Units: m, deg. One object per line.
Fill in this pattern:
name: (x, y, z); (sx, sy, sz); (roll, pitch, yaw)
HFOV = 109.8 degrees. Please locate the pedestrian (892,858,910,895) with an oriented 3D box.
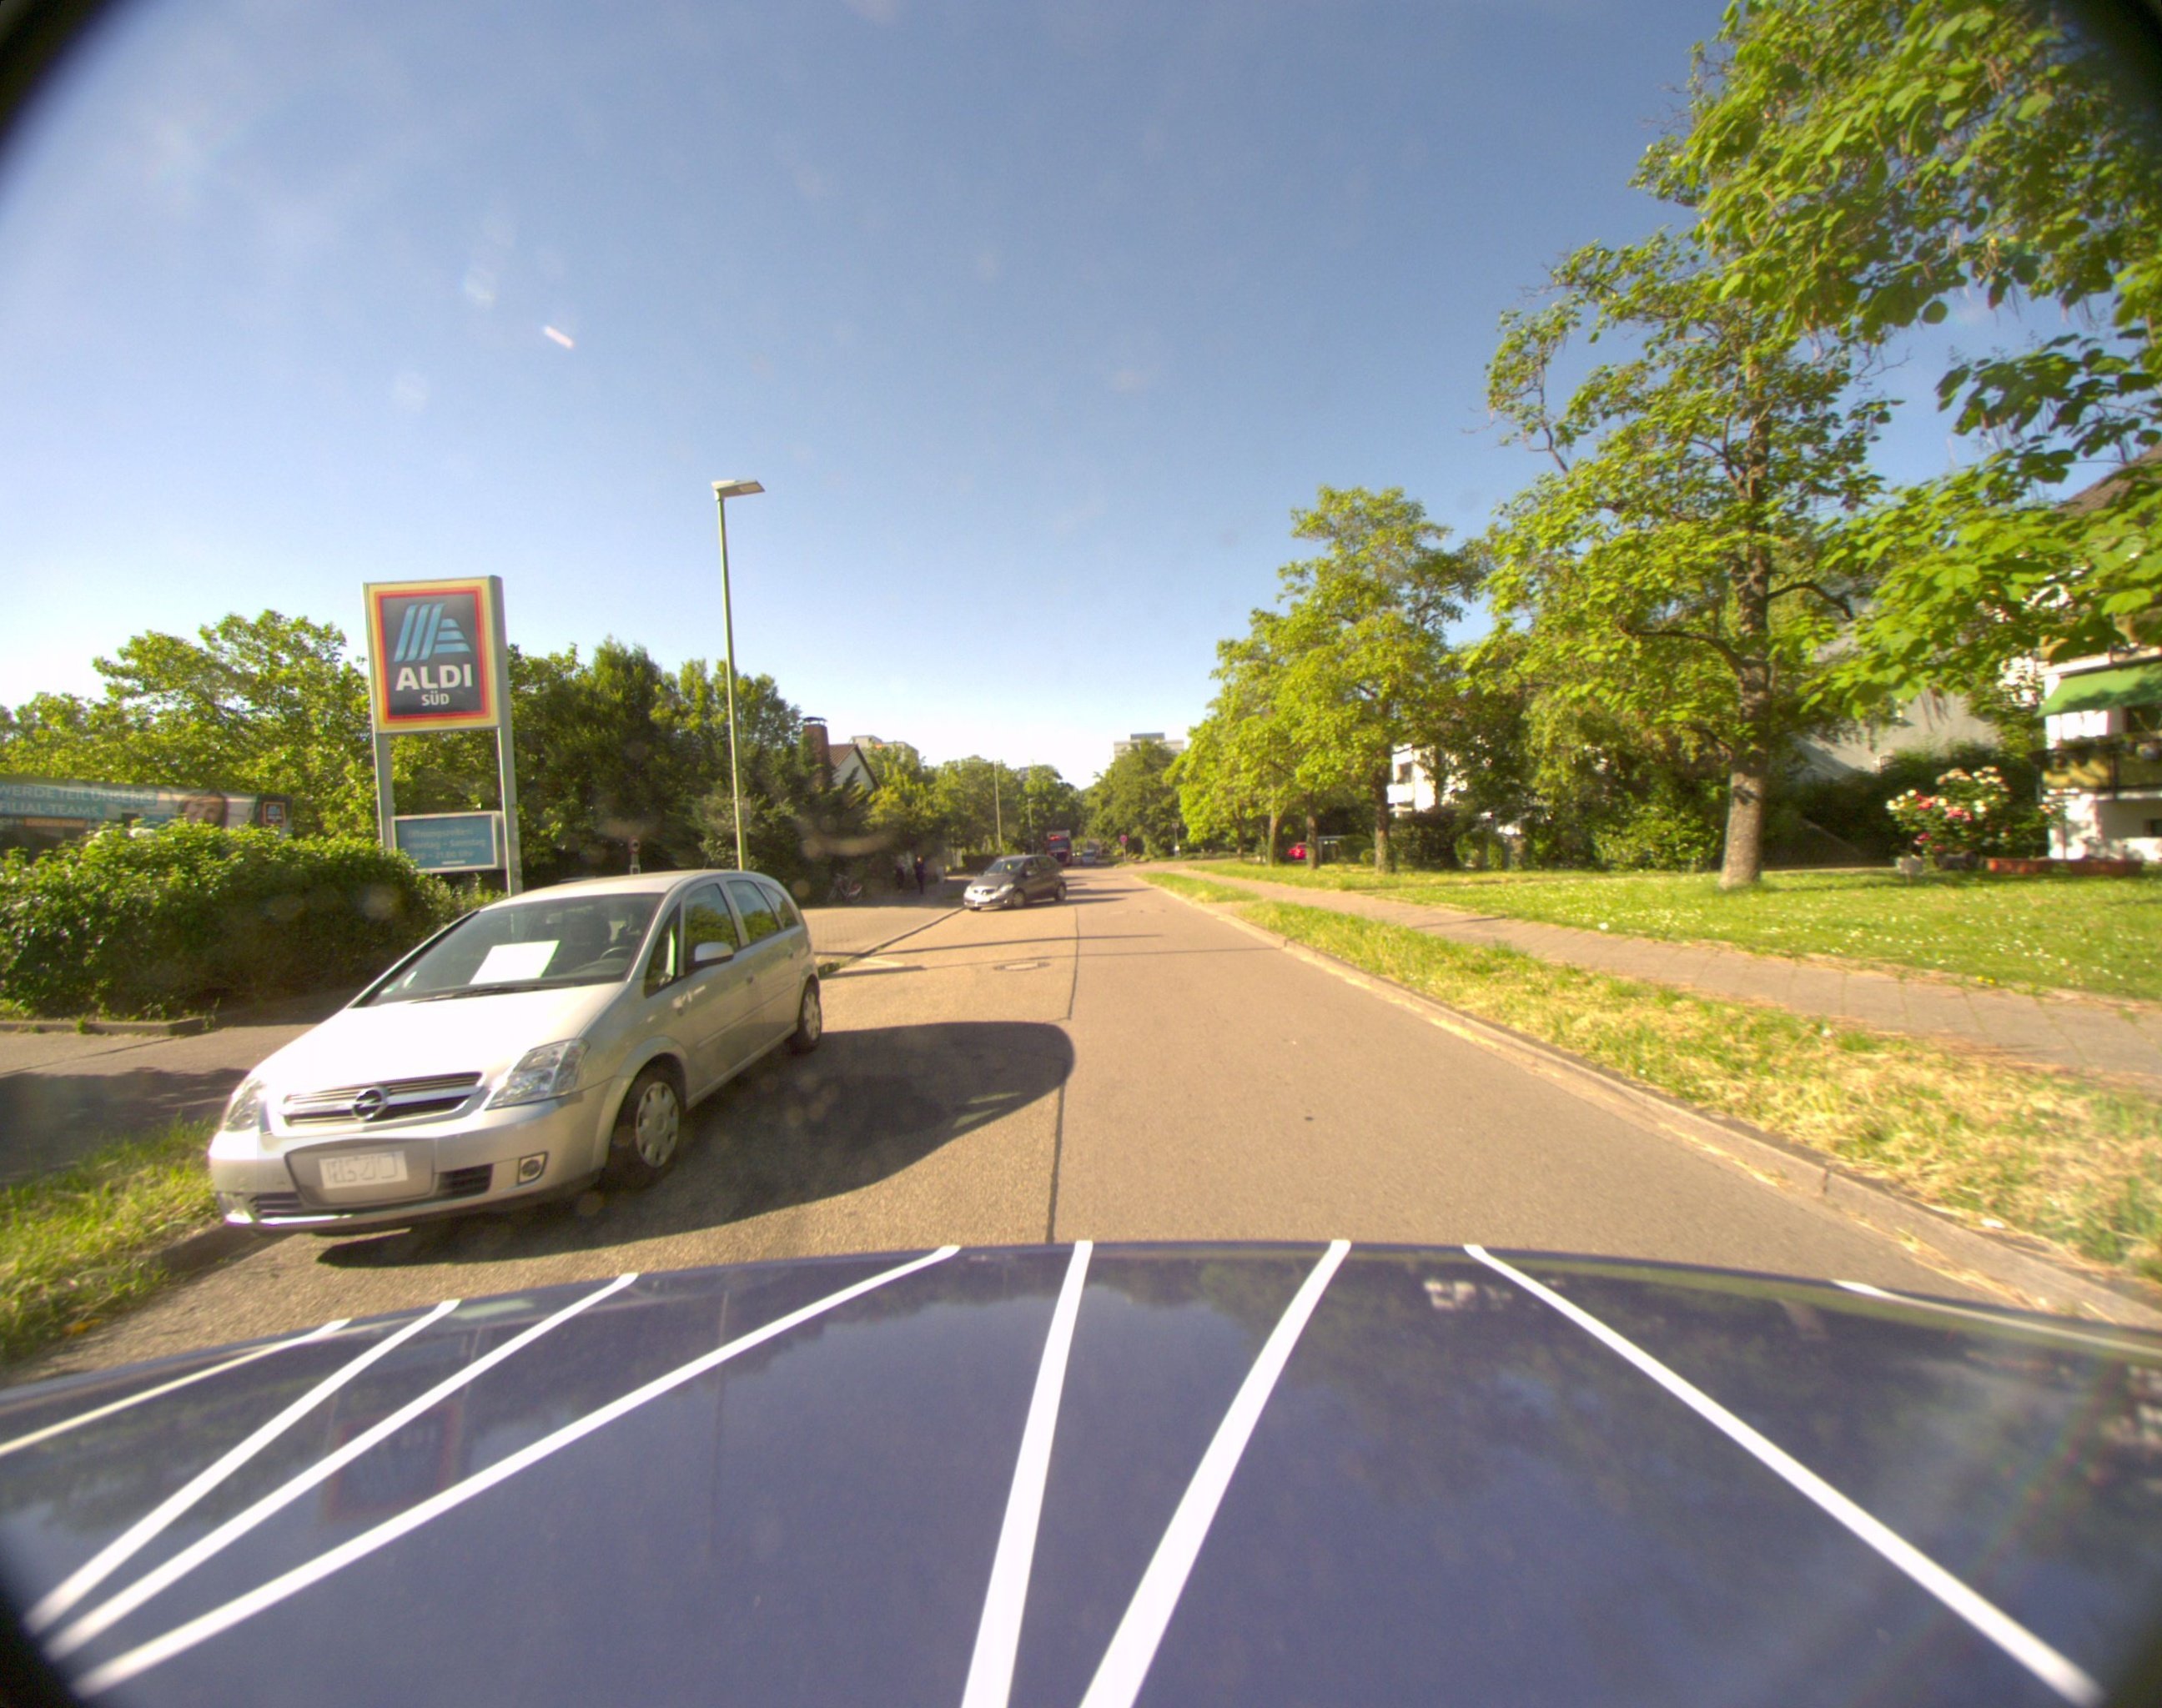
pedestrian: (-7.971, 0.992, 33.640); (0.574, 1.600, 0.792); (-1, 2, -3)

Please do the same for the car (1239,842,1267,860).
car: (15.720, -0.318, 69.641); (1.674, 1.479, 3.883); (-3, 2, 0)

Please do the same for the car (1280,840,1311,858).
car: (19.200, -0.460, 68.146); (1.674, 1.479, 3.883); (-3, 2, 0)

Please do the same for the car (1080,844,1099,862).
car: (0.997, -0.109, 84.937); (1.844, 1.795, 4.029); (-3, 1, 2)

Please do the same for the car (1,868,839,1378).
car: (-3.072, 1.037, 4.834); (1.684, 1.590, 4.027); (-6, 1, -1)

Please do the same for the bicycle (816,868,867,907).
bicycle: (-8.262, 1.135, 26.330); (0.721, 1.214, 1.897); (-1, 2, 16)

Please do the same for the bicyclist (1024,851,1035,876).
bicyclist: (-4.166, 0.759, 61.473); (0.753, 2.002, 0.711); (-3, 1, -1)

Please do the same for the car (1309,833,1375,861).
car: (20.321, -0.526, 59.303); (4.461, 1.957, 2.069); (-2, 0, 3)

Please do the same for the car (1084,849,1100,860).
car: (1.639, 0.048, 115.594); (1.667, 1.458, 4.184); (-2, 2, -9)

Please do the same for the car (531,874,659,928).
car: (-16.401, 1.528, 25.889); (1.777, 1.494, 3.802); (-3, 0, 1)

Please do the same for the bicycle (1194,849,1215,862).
bicycle: (11.888, 0.133, 73.230); (1.902, 1.146, 0.760); (-3, 4, 10)

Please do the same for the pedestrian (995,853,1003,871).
pedestrian: (-7.834, 0.774, 72.486); (0.641, 1.629, 0.641); (-3, 1, 3)

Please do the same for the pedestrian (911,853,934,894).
pedestrian: (-6.980, 0.853, 33.550); (0.806, 1.707, 0.983); (-1, 2, -3)

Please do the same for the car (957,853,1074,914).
car: (-1.968, 0.882, 23.890); (1.851, 1.635, 3.762); (-3, 1, 28)

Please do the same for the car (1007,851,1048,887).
car: (-2.665, 0.691, 38.823); (1.729, 1.647, 4.352); (-3, 0, 0)

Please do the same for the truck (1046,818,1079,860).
truck: (-2.008, -1.697, 87.113); (3.166, 4.320, 10.582); (-3, 1, 1)

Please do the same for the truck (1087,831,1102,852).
truck: (2.672, -2.602, 151.605); (2.803, 3.996, 9.622); (-1, 2, 0)

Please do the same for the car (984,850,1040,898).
car: (-2.917, 0.798, 33.136); (1.844, 1.795, 4.653); (-3, 1, 1)
